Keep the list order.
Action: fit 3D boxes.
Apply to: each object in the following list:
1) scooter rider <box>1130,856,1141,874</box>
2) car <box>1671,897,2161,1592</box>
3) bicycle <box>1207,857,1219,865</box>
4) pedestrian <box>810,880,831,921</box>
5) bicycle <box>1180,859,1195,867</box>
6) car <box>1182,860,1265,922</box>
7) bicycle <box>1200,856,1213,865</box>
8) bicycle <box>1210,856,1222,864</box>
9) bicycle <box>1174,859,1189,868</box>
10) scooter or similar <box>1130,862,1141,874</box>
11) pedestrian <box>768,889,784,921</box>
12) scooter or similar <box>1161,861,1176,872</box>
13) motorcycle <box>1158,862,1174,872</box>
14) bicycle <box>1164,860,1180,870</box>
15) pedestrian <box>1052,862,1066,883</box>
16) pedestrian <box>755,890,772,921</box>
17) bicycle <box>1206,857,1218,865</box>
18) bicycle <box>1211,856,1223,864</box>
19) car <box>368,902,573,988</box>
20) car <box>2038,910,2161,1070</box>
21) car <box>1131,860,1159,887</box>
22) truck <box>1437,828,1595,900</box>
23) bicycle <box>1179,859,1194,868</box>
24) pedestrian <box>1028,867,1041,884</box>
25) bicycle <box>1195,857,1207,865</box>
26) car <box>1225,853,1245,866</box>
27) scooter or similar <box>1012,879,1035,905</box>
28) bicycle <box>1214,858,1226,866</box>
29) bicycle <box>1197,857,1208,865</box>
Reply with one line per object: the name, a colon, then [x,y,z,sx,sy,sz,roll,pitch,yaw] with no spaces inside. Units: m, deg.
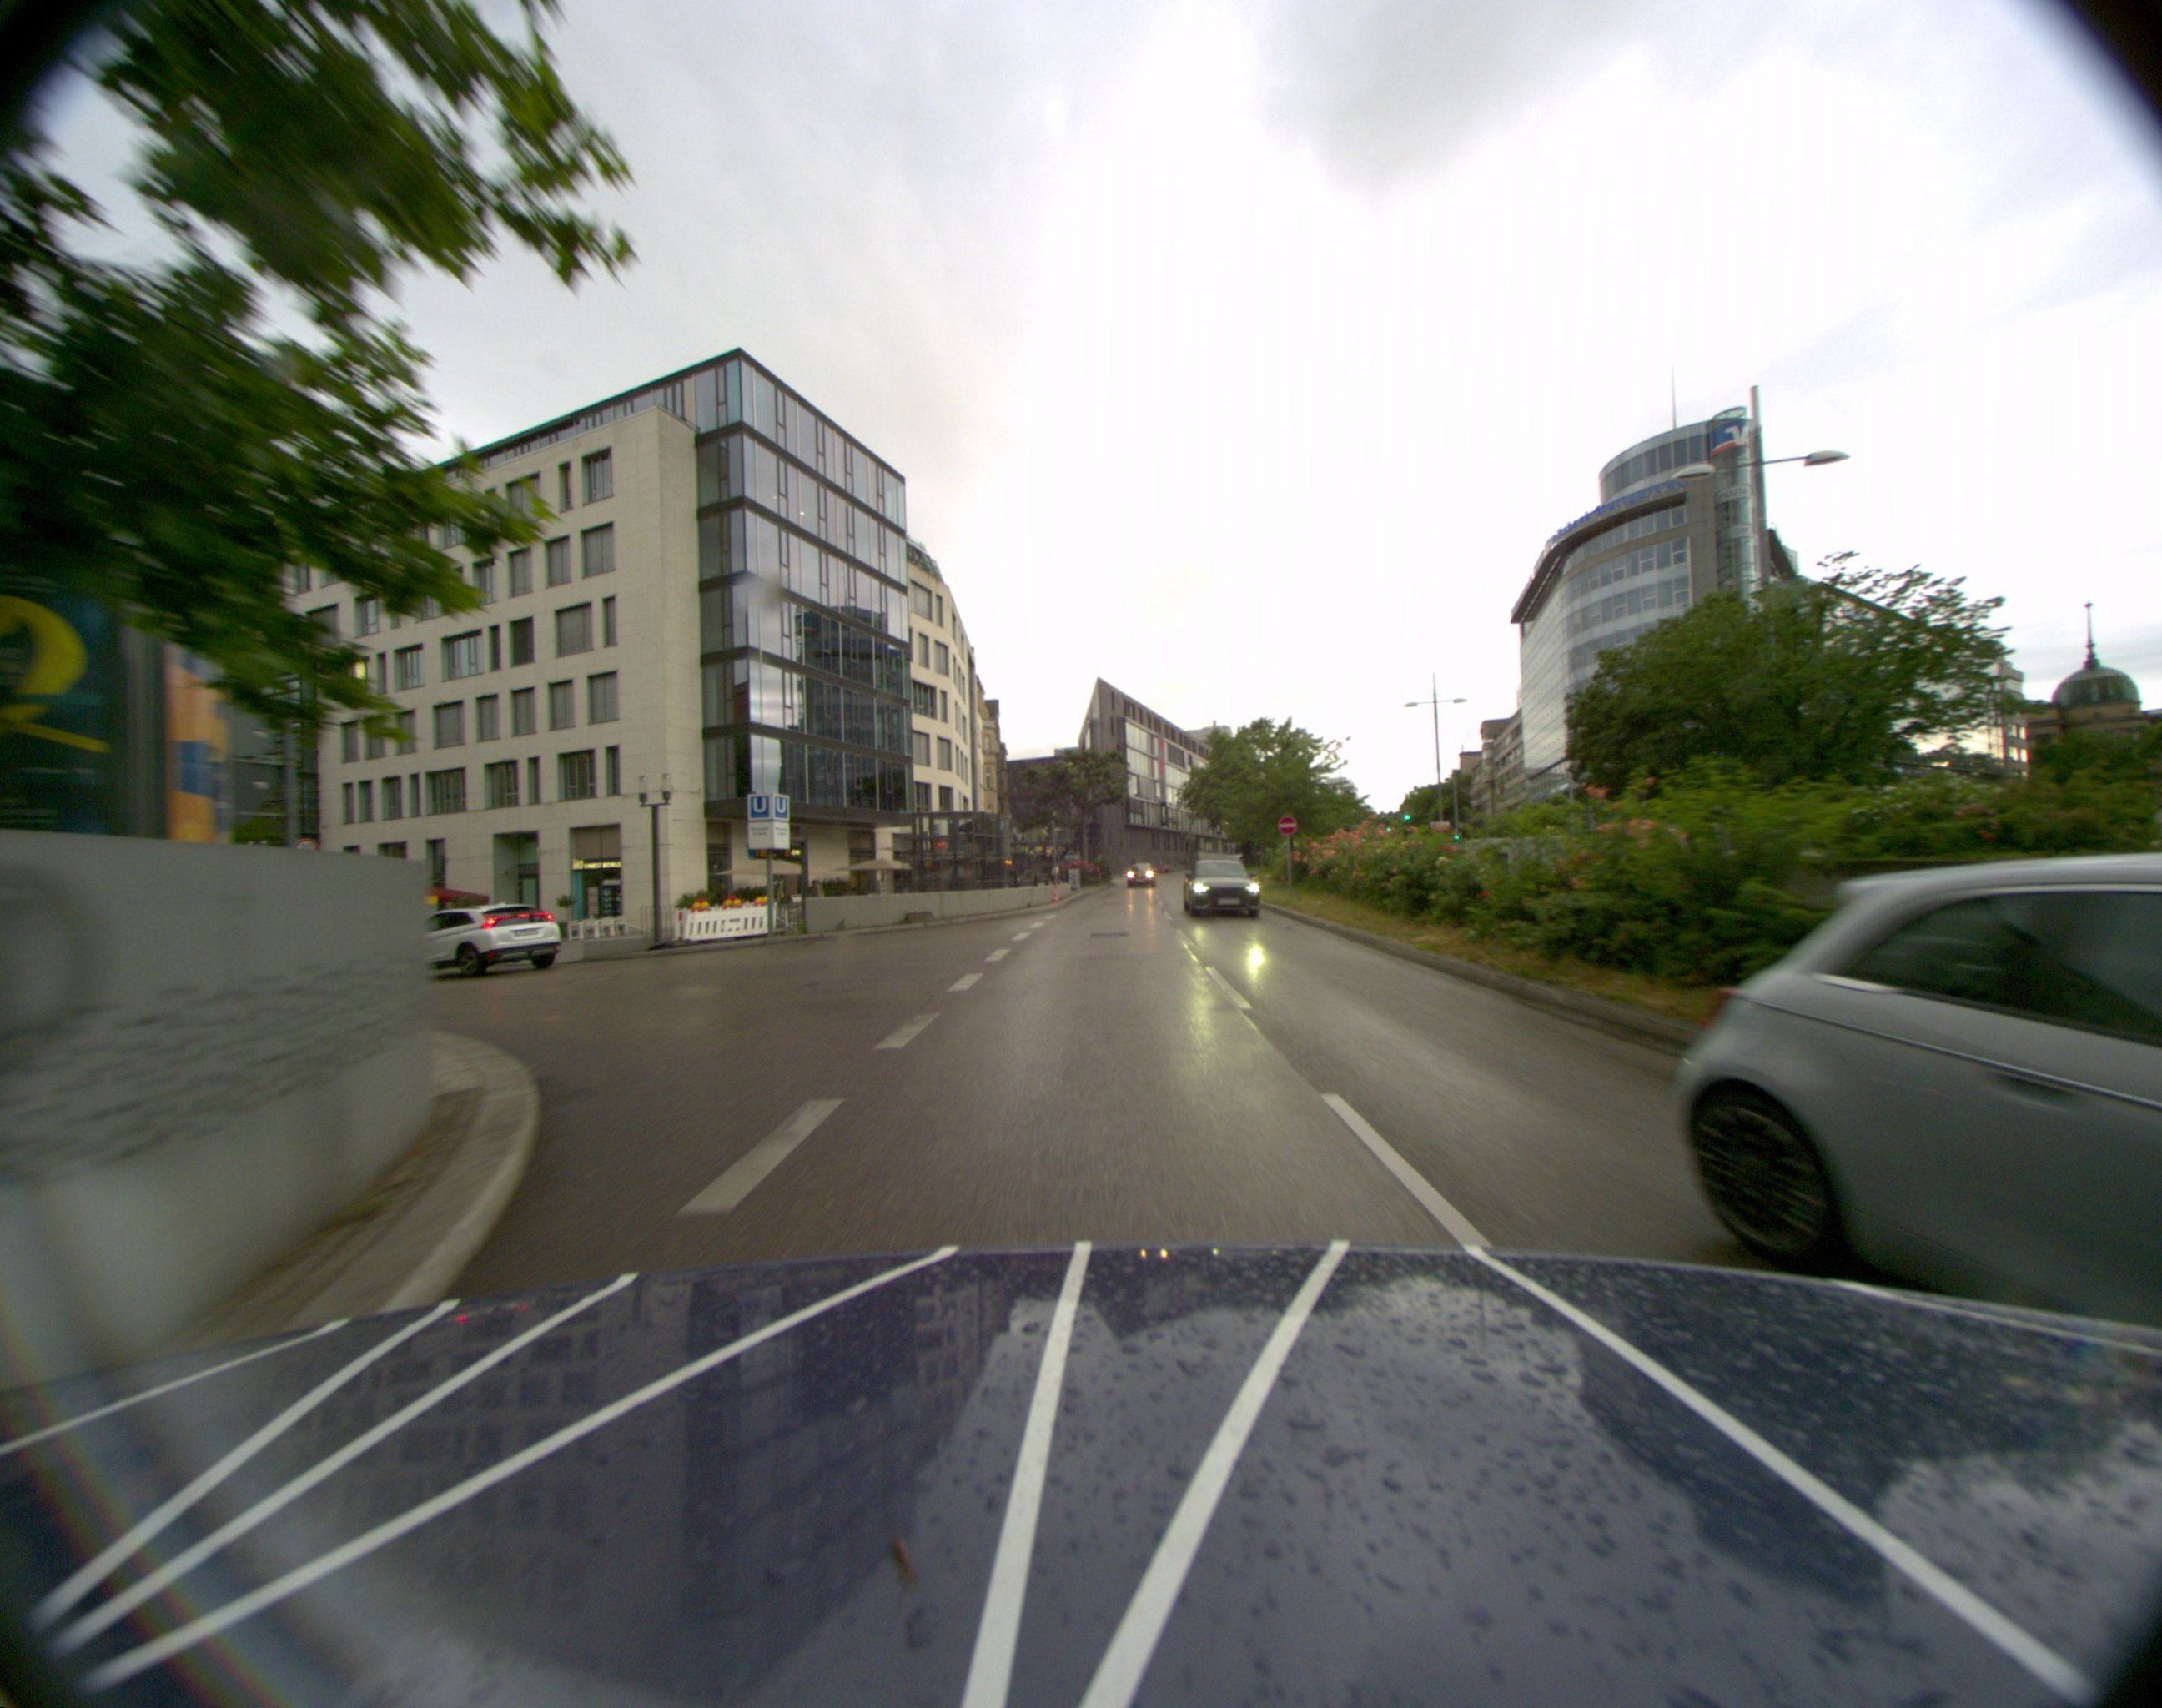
scooter rider: [6.197,1.202,86.444,0.778,2.009,0.925,-2,0,27]
car: [3.230,0.917,1.389,1.594,1.482,3.505,0,0,0]
bicycle: [20.104,1.007,115.500,1.732,1.133,0.690,-2,0,17]
pedestrian: [-12.266,2.161,35.765,0.584,1.883,0.643,-1,1,38]
bicycle: [14.523,1.242,103.705,1.796,1.062,0.557,-4,1,19]
car: [3.997,0.992,21.995,1.865,1.508,4.347,-3,0,5]
bicycle: [18.482,0.943,111.755,1.708,1.134,0.690,-2,1,17]
bicycle: [20.689,0.969,116.267,1.732,1.176,0.690,-2,0,17]
bicycle: [13.377,1.310,101.536,1.796,1.101,0.671,-4,1,18]
scooter or similar: [6.233,1.611,86.479,0.778,1.298,1.337,-2,0,27]
pedestrian: [-13.811,2.304,34.406,0.435,1.395,0.479,-2,1,22]
scooter or similar: [10.953,1.522,95.122,1.794,1.236,0.597,-4,1,18]
motorcycle: [10.497,1.611,94.090,1.794,1.133,0.597,-4,1,18]
bicycle: [11.660,1.440,97.332,1.796,1.101,0.671,-4,1,18]
pedestrian: [-1.905,1.621,66.890,0.873,1.827,1.250,-5,0,9]
pedestrian: [-14.369,2.324,34.428,0.435,1.395,0.479,-2,1,22]
bicycle: [19.766,1.011,114.577,1.732,1.133,0.690,-2,0,17]
bicycle: [21.012,0.960,117.148,1.732,1.176,0.690,-2,0,17]
car: [-14.782,2.203,18.435,4.102,1.611,1.865,-6,-1,19]
car: [11.116,1.293,5.717,1.762,1.482,5.084,-1,-1,6]
car: [3.906,1.135,46.519,1.594,1.501,3.710,-3,0,4]
truck: [17.694,0.350,31.736,3.372,2.495,8.484,-2,0,13]
bicycle: [14.317,1.266,103.104,1.796,1.062,0.557,-4,1,19]
pedestrian: [-3.754,1.717,61.610,0.774,1.318,0.636,-5,0,19]
bicycle: [17.358,1.020,109.644,1.536,1.134,0.663,-2,1,17]
car: [18.865,0.640,92.989,1.796,1.501,4.506,-3,0,19]
scooter or similar: [-2.956,1.955,39.067,1.093,1.264,0.481,-3,0,-5]
bicycle: [21.785,1.207,118.713,1.732,1.176,0.690,-2,0,17]
bicycle: [17.650,0.997,110.395,1.536,1.134,0.690,-2,1,17]
